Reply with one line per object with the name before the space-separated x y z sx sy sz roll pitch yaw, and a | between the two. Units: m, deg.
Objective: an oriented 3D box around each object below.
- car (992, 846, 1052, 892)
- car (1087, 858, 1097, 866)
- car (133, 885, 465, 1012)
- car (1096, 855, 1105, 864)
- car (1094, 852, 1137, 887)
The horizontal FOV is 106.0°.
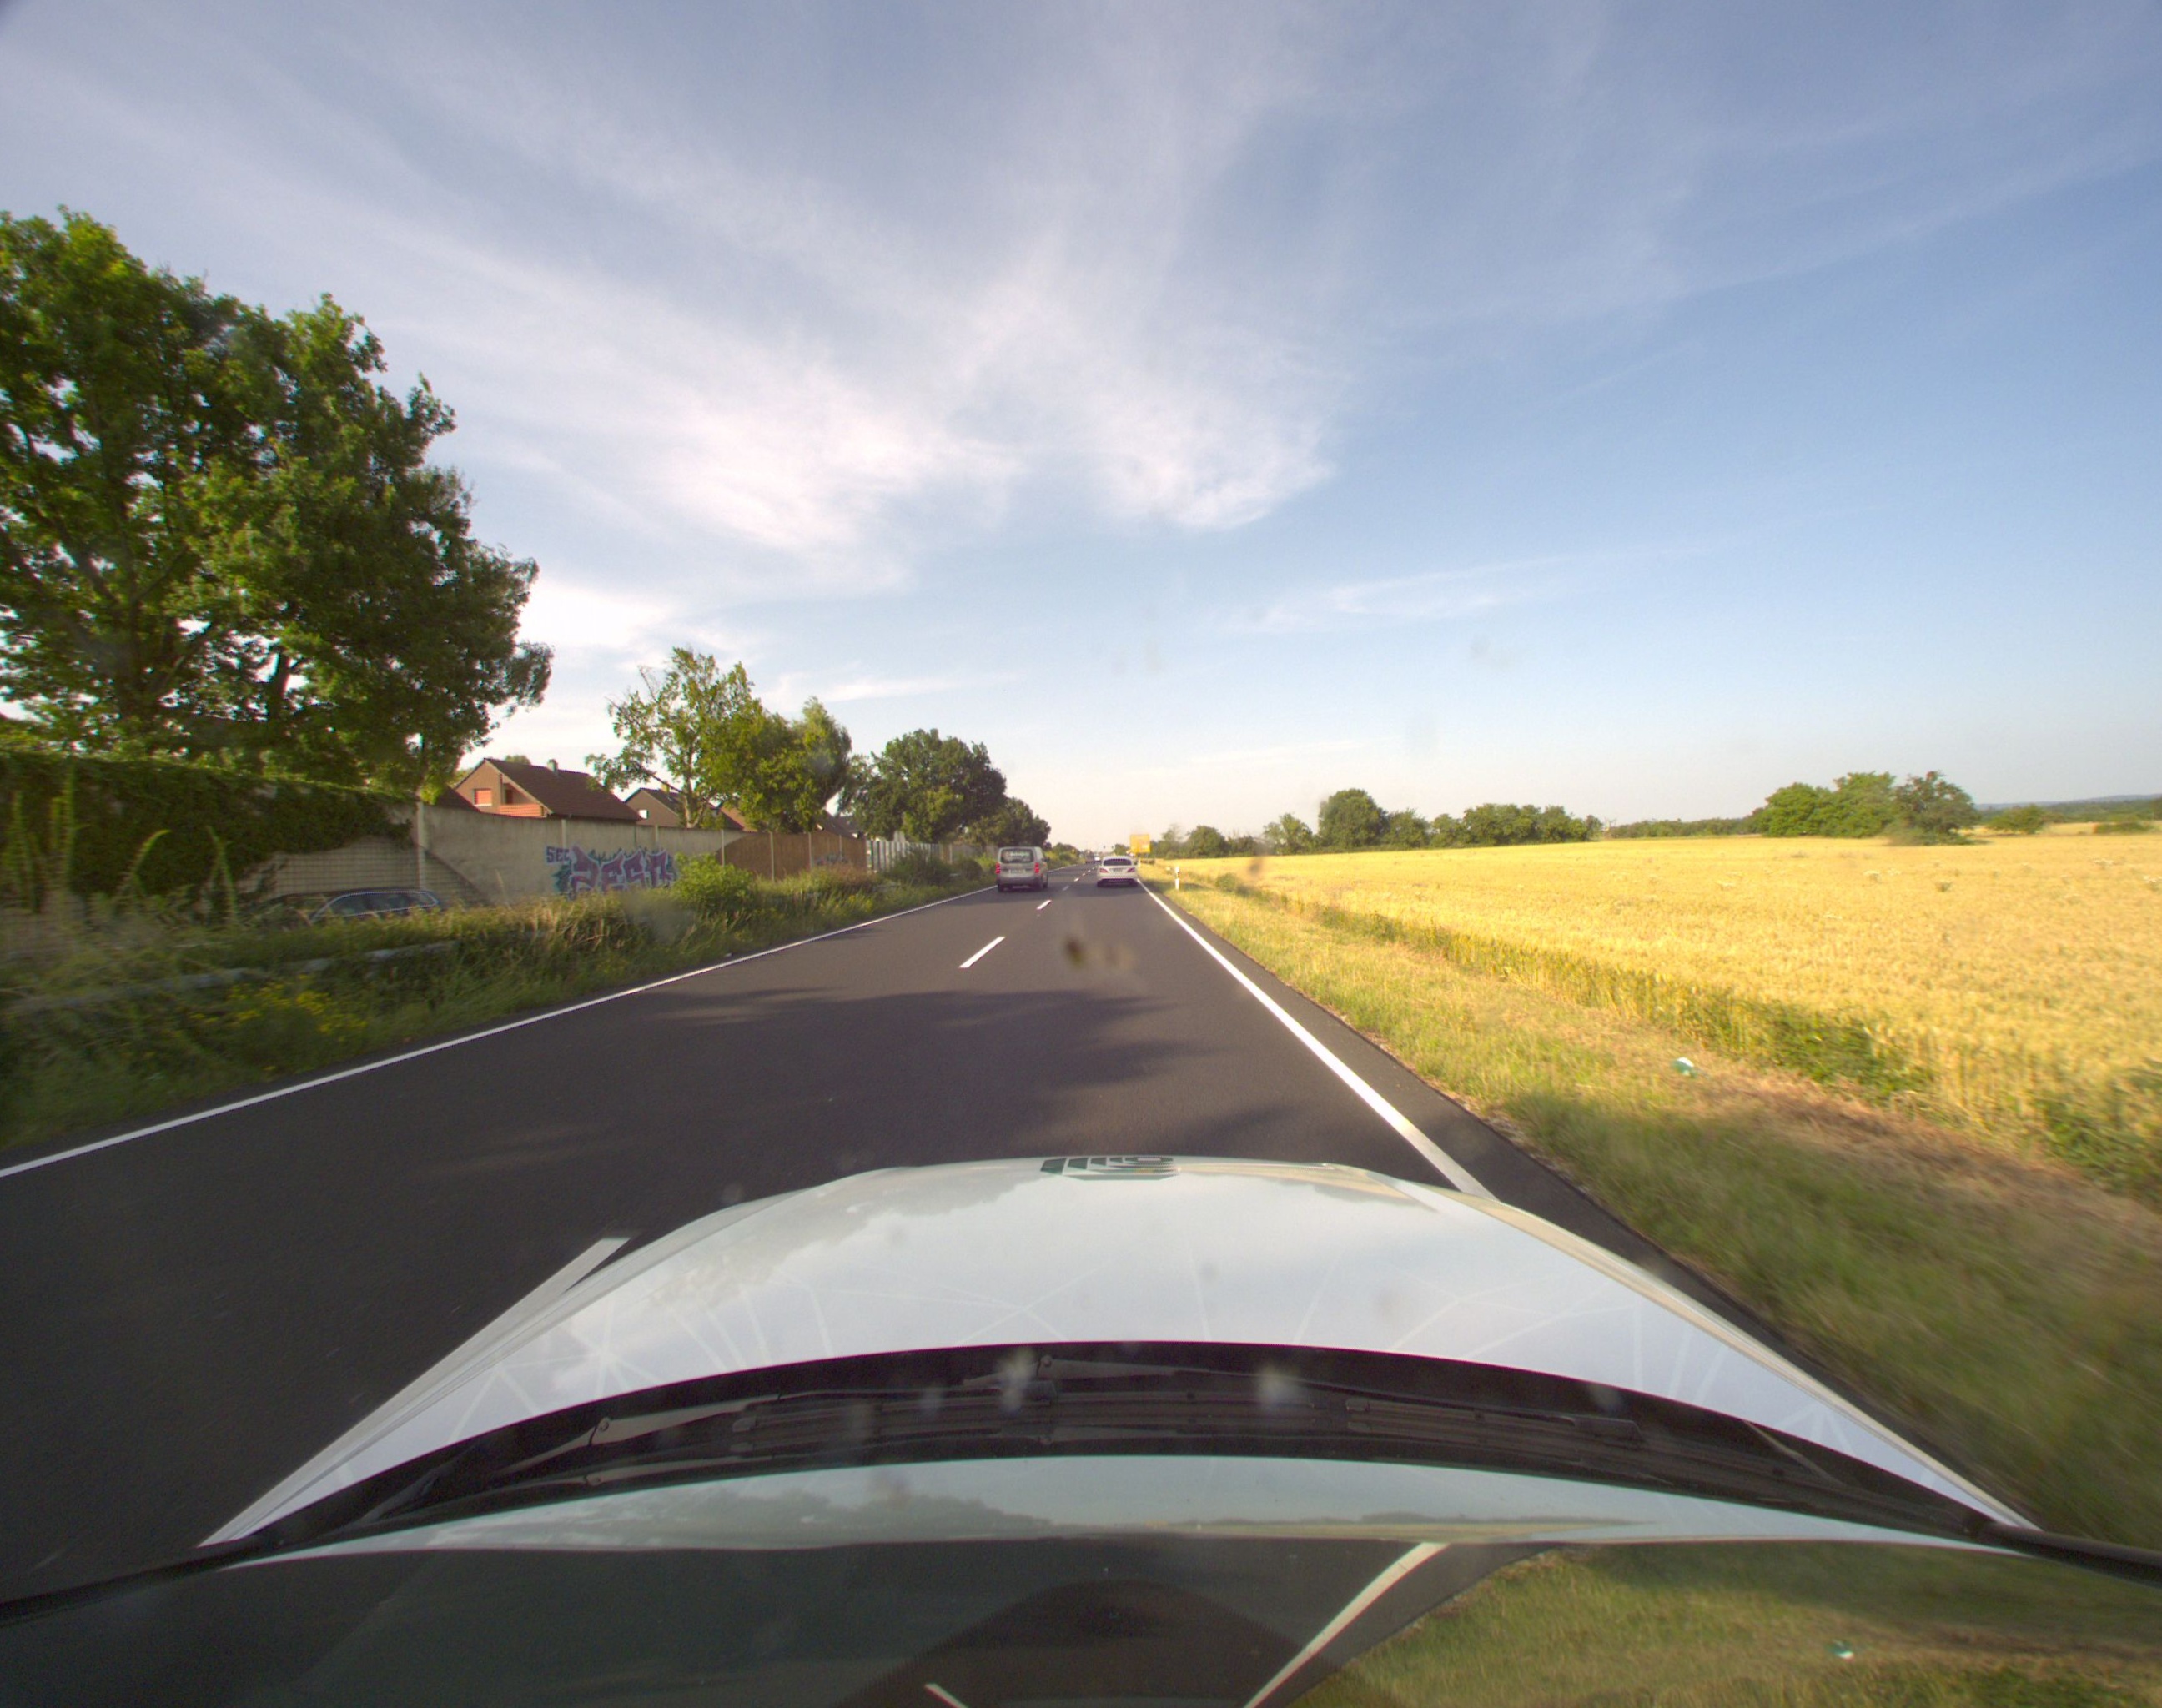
car | -2.475 0.611 35.597 2.017 1.892 4.962 0 0 3
car | 1.936 1.377 141.801 1.710 1.492 3.586 0 -1 2
car | -13.958 1.574 14.994 1.828 1.855 4.366 0 -1 1
car | 4.017 1.147 169.027 1.871 1.651 3.664 0 -1 1
car | 1.624 0.710 38.425 1.887 1.509 4.002 -1 -1 2
